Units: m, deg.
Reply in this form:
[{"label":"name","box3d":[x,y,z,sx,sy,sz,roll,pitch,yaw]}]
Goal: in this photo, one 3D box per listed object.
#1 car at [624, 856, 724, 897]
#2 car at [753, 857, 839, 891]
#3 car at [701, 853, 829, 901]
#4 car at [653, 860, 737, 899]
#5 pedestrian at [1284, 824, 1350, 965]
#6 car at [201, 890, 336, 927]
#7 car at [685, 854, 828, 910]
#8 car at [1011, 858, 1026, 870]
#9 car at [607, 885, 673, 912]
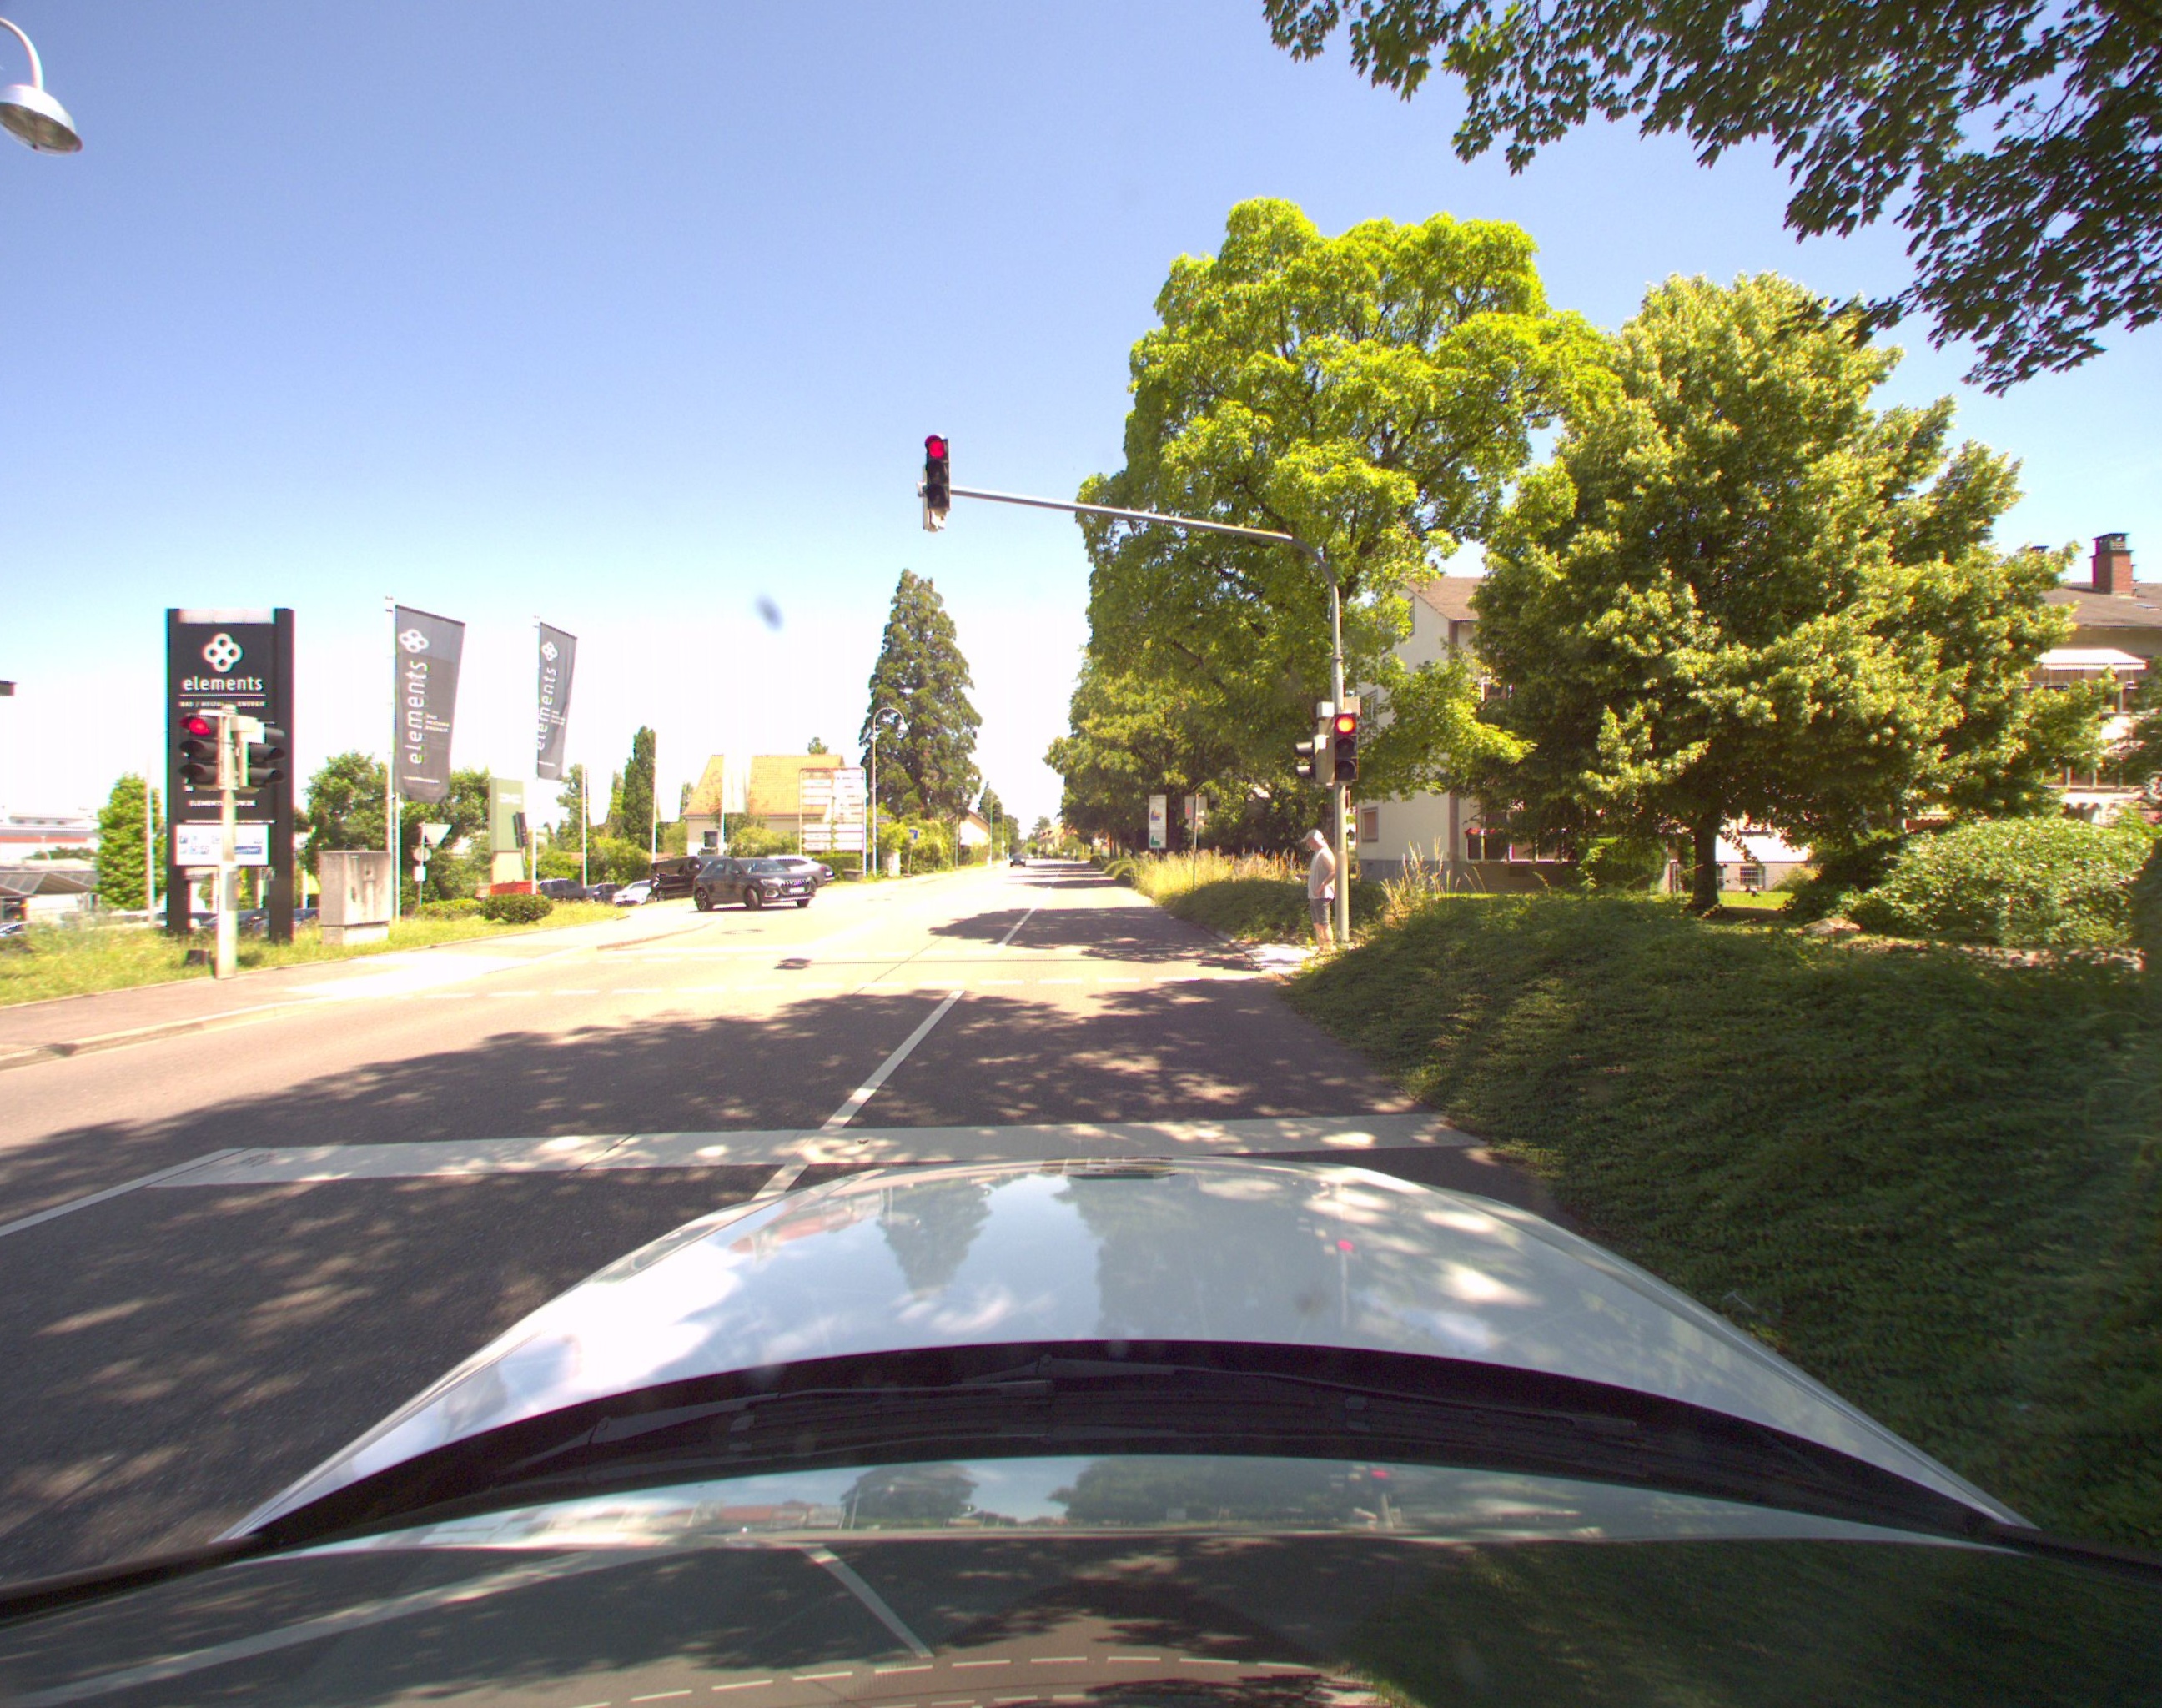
[{"label":"car","box3d":[-17.513,0.931,35.174,3.486,1.617,1.598,-1,0,-6]},{"label":"car","box3d":[-13.310,0.924,38.225,3.486,1.427,1.598,-2,0,-6]},{"label":"car","box3d":[-12.257,0.851,31.702,4.329,1.717,1.864,-1,0,-36]},{"label":"car","box3d":[-17.678,1.152,37.449,3.144,1.714,1.569,0,-1,-9]},{"label":"pedestrian","box3d":[3.038,0.498,10.514,0.562,1.751,0.611,0,-1,-22]},{"label":"car","box3d":[-34.582,2.309,34.750,3.973,1.413,1.756,0,-1,0]},{"label":"car","box3d":[-9.841,0.832,24.600,4.251,1.526,1.941,-2,0,34]},{"label":"car","box3d":[-7.344,1.166,95.613,1.426,1.322,3.356,0,0,2]},{"label":"car","box3d":[-23.025,2.299,42.641,1.743,1.226,3.240,0,0,-3]}]
